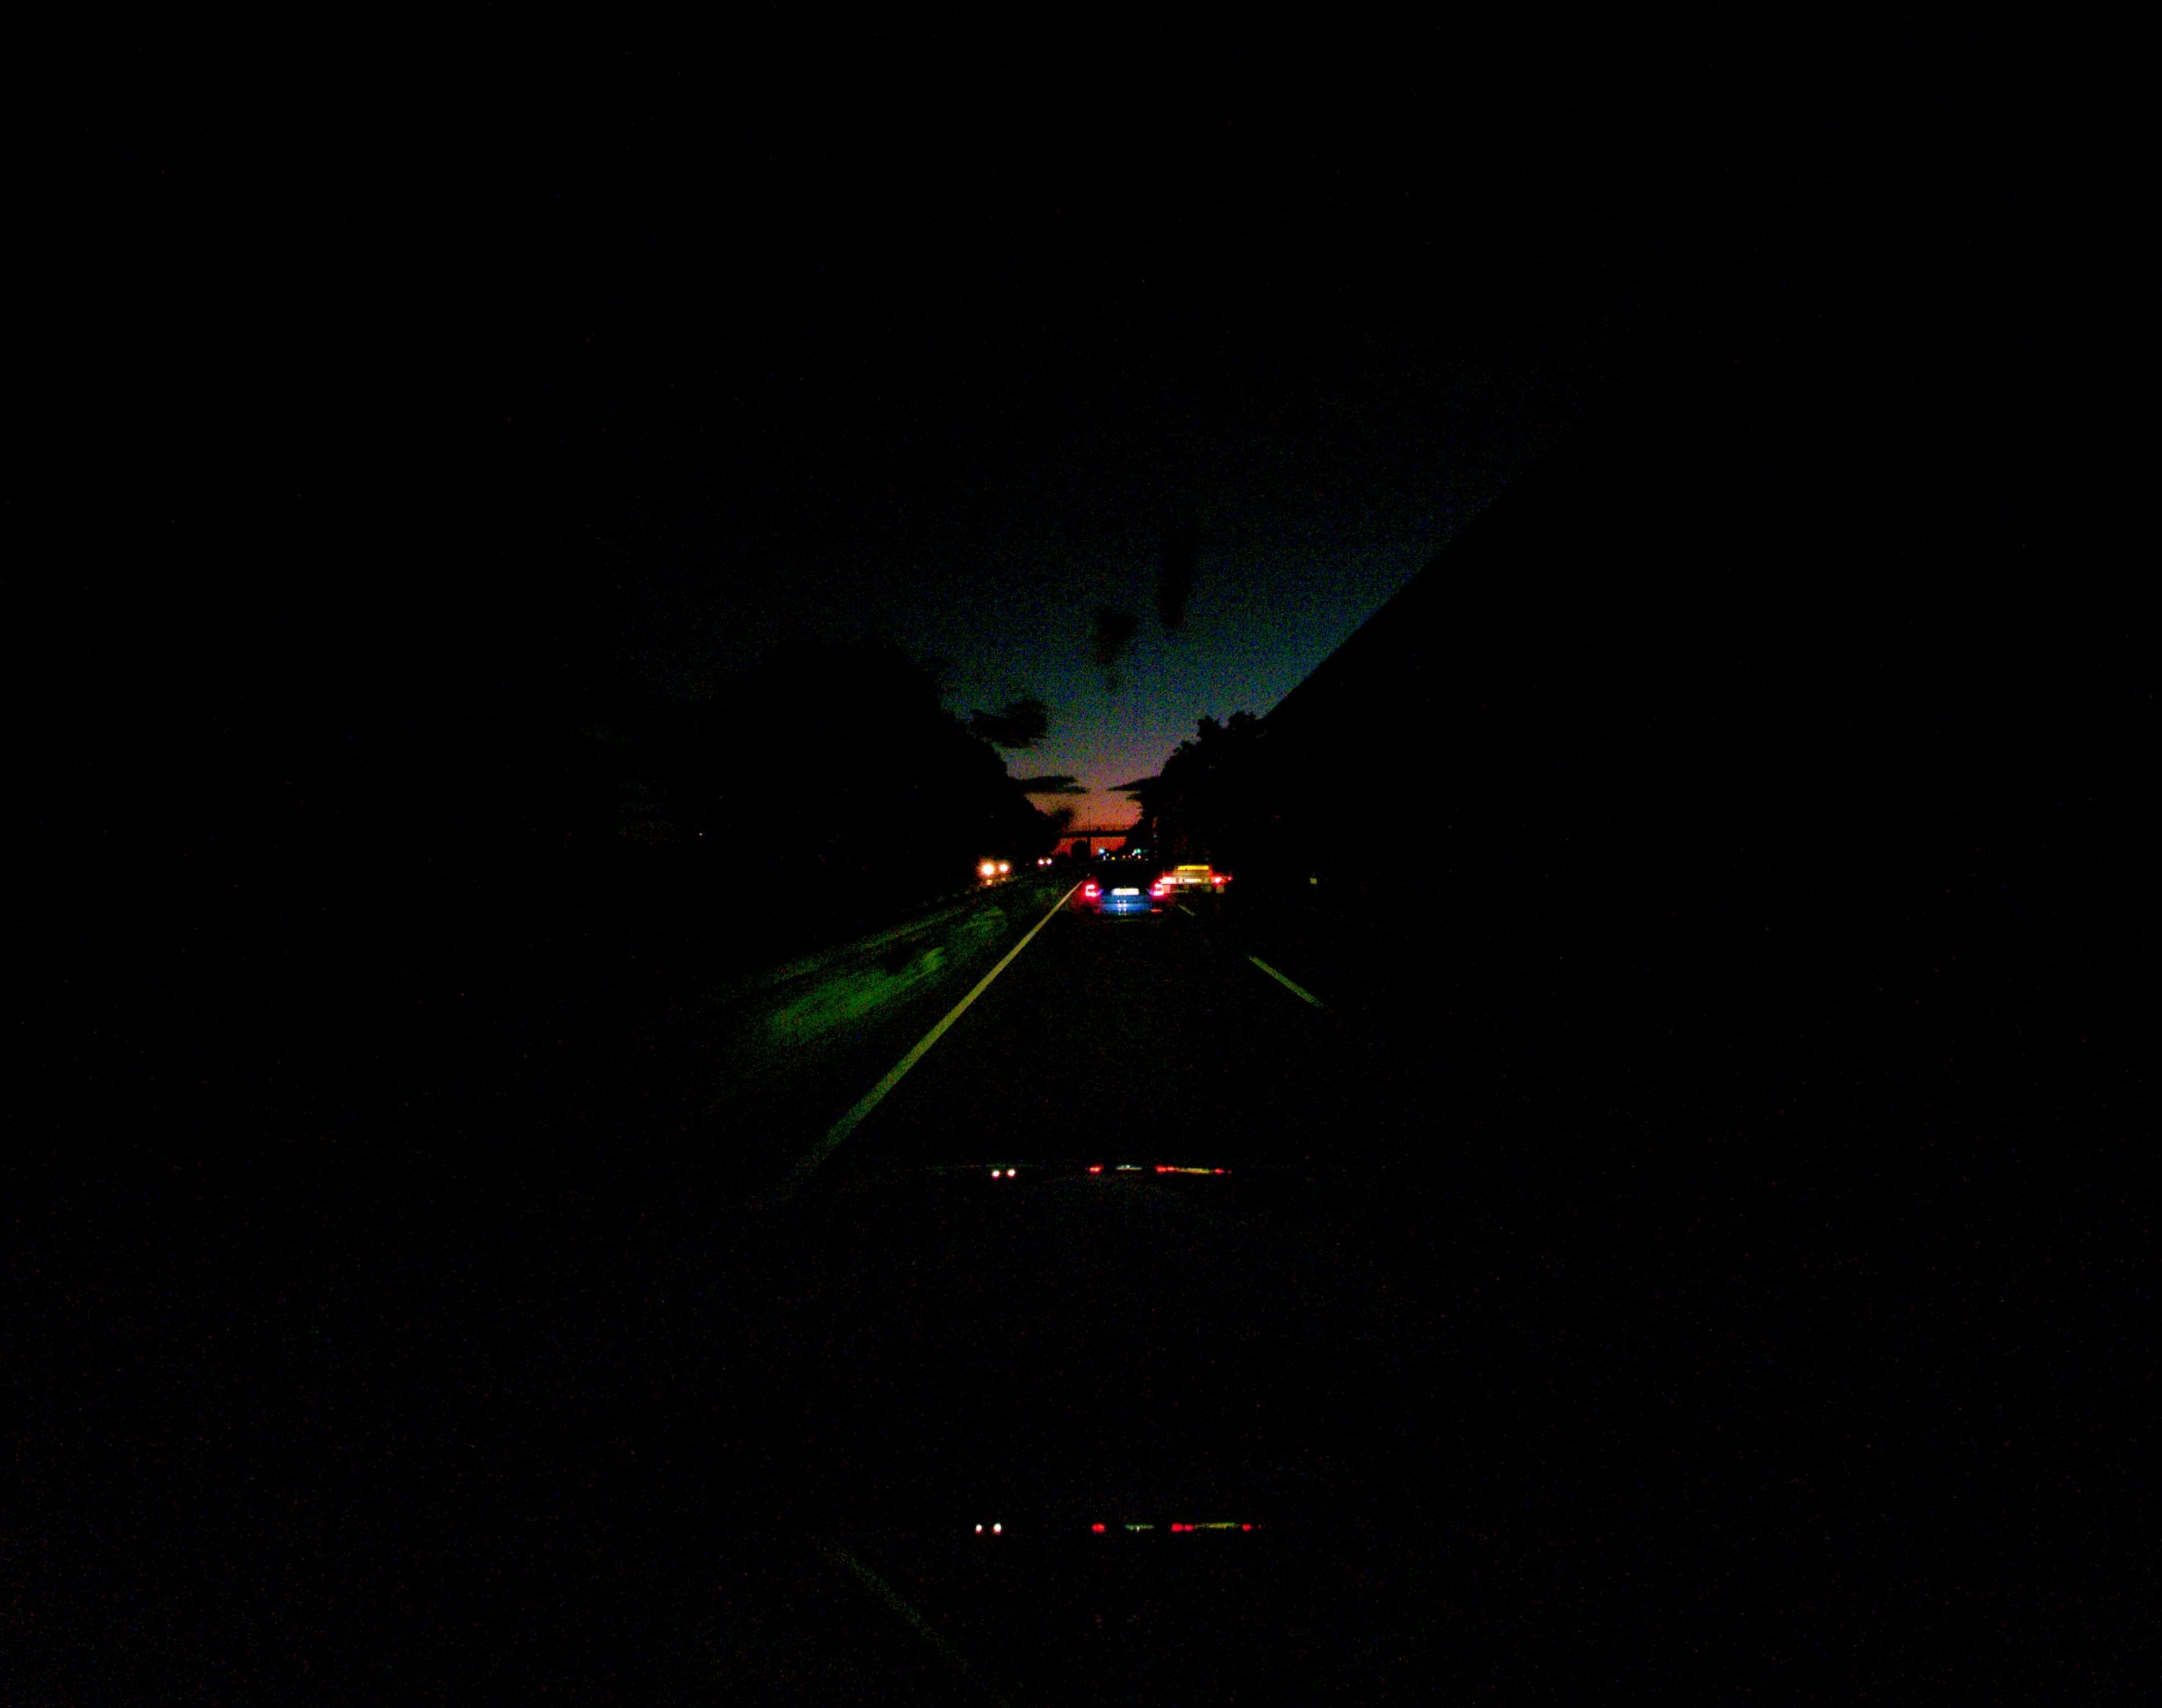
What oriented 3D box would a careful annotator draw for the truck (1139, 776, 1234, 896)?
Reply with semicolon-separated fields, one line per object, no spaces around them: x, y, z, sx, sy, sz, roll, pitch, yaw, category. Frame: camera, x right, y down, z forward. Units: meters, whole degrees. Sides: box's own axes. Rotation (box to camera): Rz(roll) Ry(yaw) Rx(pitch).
4.102;-0.583;34.574;2.677;4.106;13.145;-1;0;2;truck

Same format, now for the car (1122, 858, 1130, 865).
10.080;1.664;183.503;1.689;1.452;3.915;-1;0;2;car

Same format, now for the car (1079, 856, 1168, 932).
0.883;0.791;17.714;1.689;1.452;3.915;-1;0;2;car

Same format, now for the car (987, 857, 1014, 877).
-6.789;1.062;69.036;1.676;1.587;4.168;-1;0;2;car

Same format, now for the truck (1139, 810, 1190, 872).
6.043;-0.798;60.765;2.872;4.106;12.687;-1;0;2;truck

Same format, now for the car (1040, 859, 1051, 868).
-6.010;1.592;138.200;1.611;1.507;3.870;-1;0;2;car
